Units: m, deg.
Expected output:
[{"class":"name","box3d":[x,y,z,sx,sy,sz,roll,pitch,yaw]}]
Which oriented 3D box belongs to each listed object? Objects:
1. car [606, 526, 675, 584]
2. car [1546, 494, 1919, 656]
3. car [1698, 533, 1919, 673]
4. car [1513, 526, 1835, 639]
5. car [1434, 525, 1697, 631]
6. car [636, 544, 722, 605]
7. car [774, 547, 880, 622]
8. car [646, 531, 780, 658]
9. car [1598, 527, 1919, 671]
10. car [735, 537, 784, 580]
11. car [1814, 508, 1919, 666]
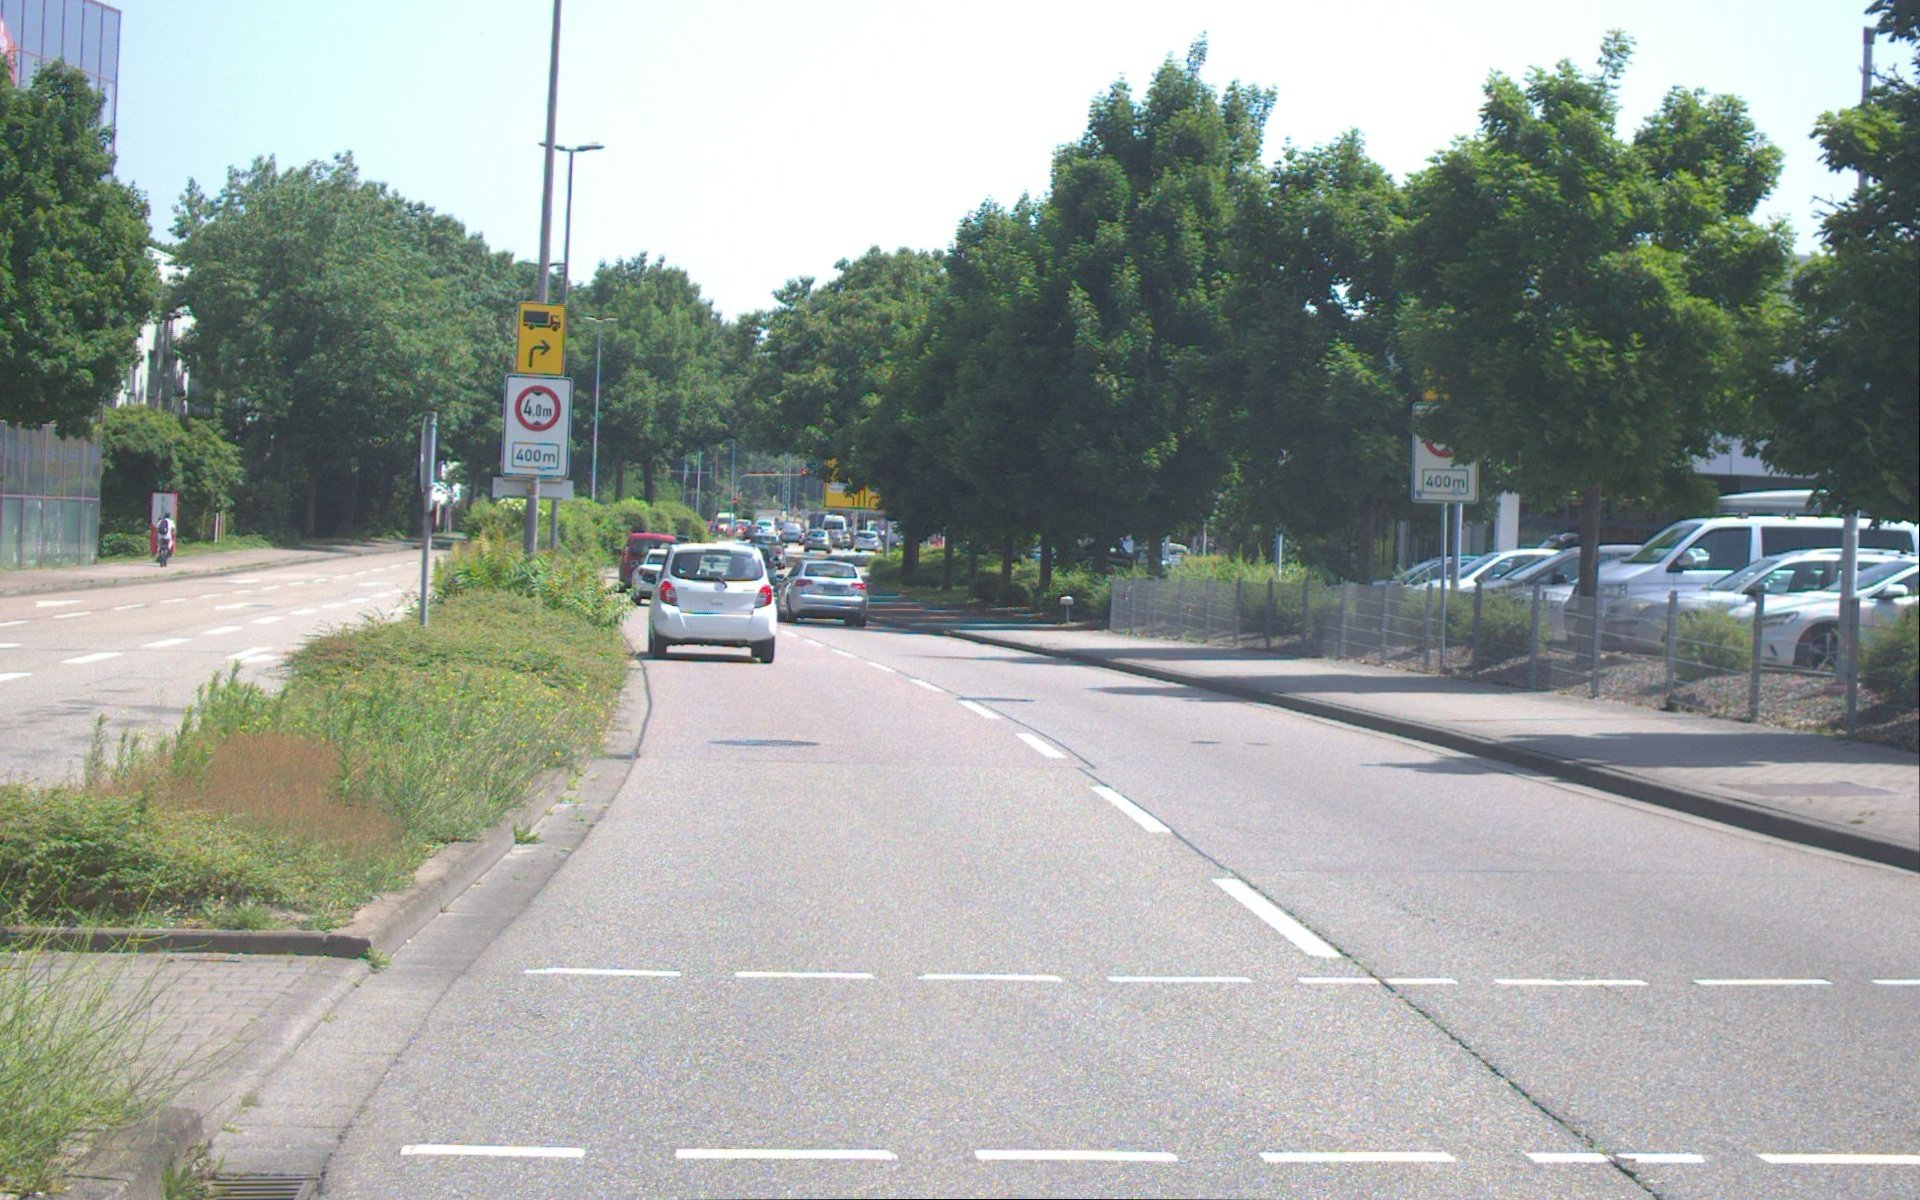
[{"class":"car","box3d":[-9.306,-1.327,99.944,1.884,1.603,4.001,1,1,-6]},{"class":"car","box3d":[10.253,-0.339,45.234,4.616,1.918,1.827,2,1,-4]},{"class":"car","box3d":[10.362,0.056,37.832,3.995,1.416,1.698,2,1,-5]},{"class":"car","box3d":[9.933,-0.253,48.009,3.986,1.385,1.827,2,1,-4]},{"class":"car","box3d":[10.341,-0.383,58.836,3.986,1.590,1.827,3,1,-9]},{"class":"car","box3d":[-6.973,-0.655,84.929,1.884,1.349,4.001,3,1,-7]},{"class":"car","box3d":[-2.951,-0.361,75.623,1.865,1.468,4.001,3,1,-8]},{"class":"car","box3d":[-3.318,-0.098,45.910,1.638,1.546,3.326,3,1,-5]},{"class":"car","box3d":[10.271,-0.011,42.361,4.366,1.587,1.827,2,1,-3]},{"class":"car","box3d":[-6.655,-1.385,113.719,1.441,1.343,3.461,1,1,-6]},{"class":"car","box3d":[10.710,-0.092,34.750,3.588,1.531,1.724,2,1,-9]}]
